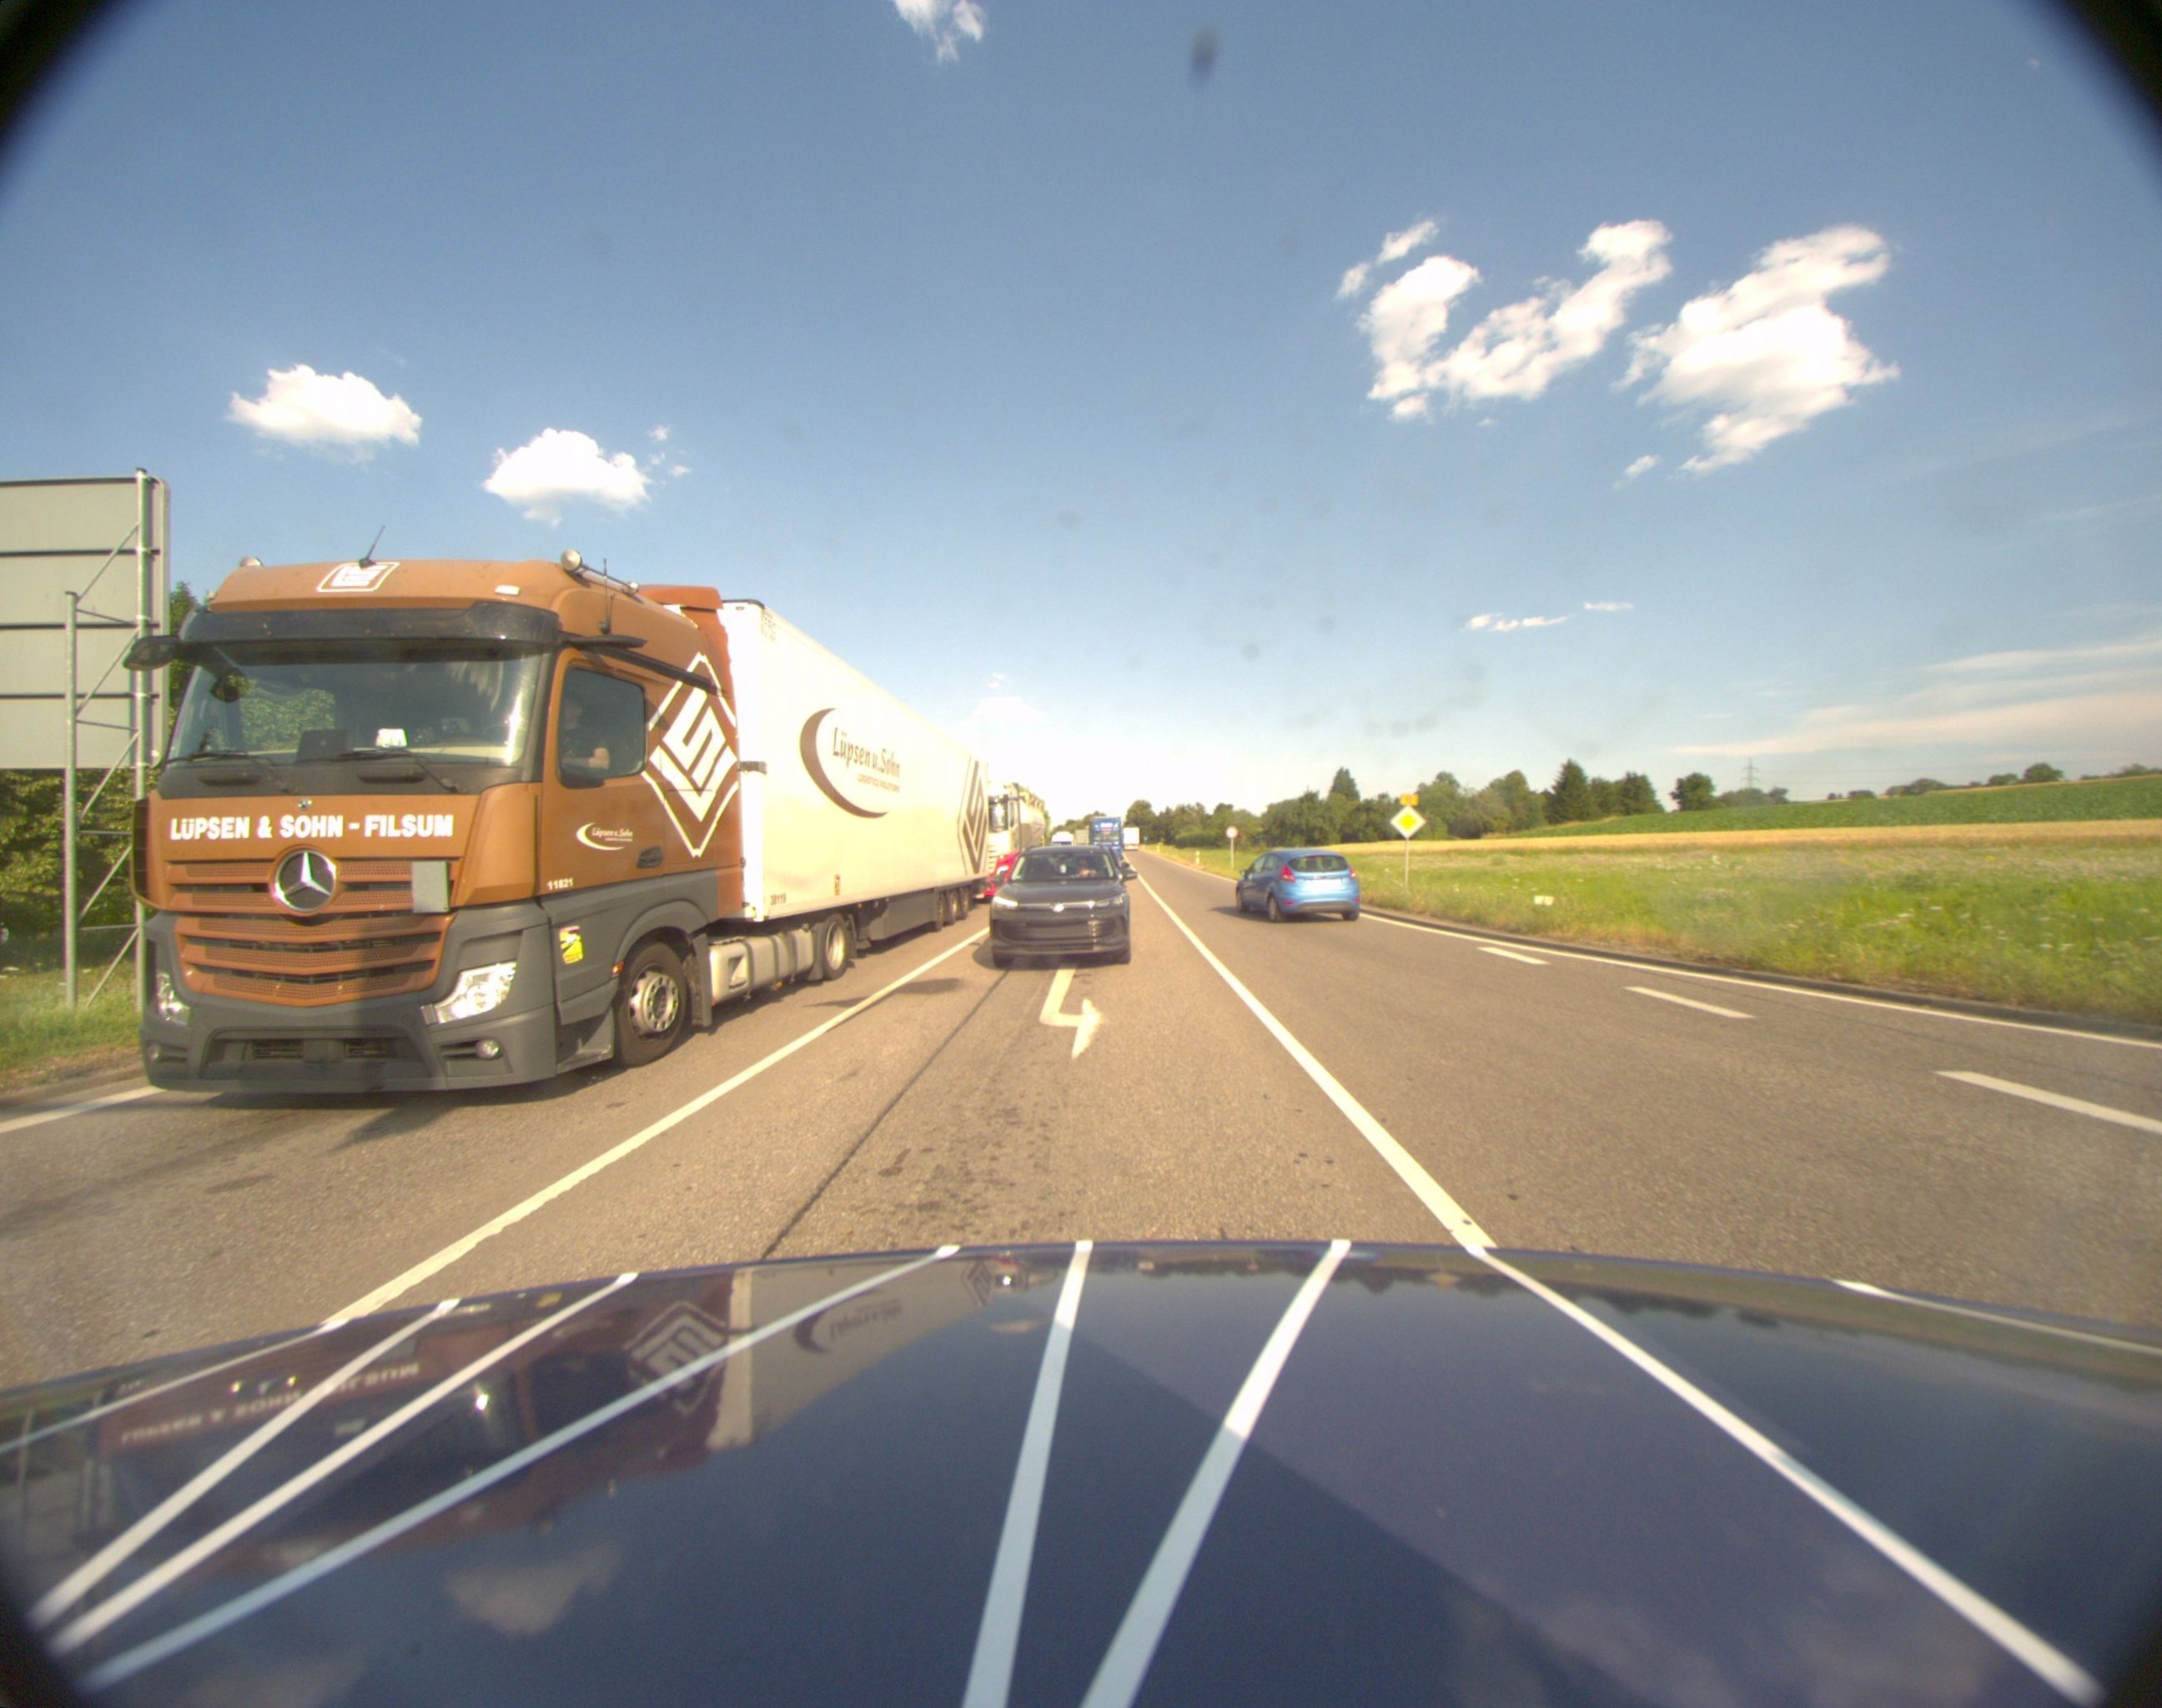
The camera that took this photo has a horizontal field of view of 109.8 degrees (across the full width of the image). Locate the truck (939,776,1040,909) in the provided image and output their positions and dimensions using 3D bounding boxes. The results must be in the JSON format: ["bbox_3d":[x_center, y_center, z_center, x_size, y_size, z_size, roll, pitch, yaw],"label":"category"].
[{"bbox_3d":[-2.820,-0.383,24.942,2.261,3.783,5.686,-2,1,2],"label":"truck"}]

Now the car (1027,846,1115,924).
[{"bbox_3d":[-0.116,0.661,18.764,1.774,1.604,4.548,-2,1,4],"label":"car"}]

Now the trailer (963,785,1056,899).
[{"bbox_3d":[-2.591,-0.465,30.598,2.264,3.756,9.525,-3,1,2],"label":"trailer"}]

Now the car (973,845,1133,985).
[{"bbox_3d":[-0.192,0.720,11.442,1.787,1.620,4.470,-2,1,5],"label":"car"}]

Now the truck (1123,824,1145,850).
[{"bbox_3d":[9.442,-3.025,136.974,3.449,4.471,9.487,-2,1,2],"label":"truck"}]

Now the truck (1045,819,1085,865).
[{"bbox_3d":[-1.290,-1.086,69.605,2.528,3.752,12.899,-2,1,3],"label":"truck"}]

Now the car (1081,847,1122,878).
[{"bbox_3d":[1.104,0.393,40.412,1.998,1.477,4.000,-2,1,2],"label":"car"}]

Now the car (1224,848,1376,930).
[{"bbox_3d":[4.431,0.651,16.054,1.764,1.492,3.998,-1,0,-5],"label":"car"}]

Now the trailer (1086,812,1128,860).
[{"bbox_3d":[2.508,-1.646,71.609,3.416,3.982,13.749,-2,1,2],"label":"trailer"}]

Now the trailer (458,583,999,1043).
[{"bbox_3d":[-3.964,-0.408,14.015,2.538,4.043,14.337,-2,0,3],"label":"trailer"}]

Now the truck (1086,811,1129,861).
[{"bbox_3d":[2.279,-1.528,64.640,3.373,3.982,5.601,-2,1,2],"label":"truck"}]

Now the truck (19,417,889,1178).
[{"bbox_3d":[-4.248,-0.308,7.446,2.537,4.020,6.662,-2,1,3],"label":"truck"}]

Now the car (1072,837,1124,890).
[{"bbox_3d":[0.732,0.327,30.893,1.906,1.936,4.372,-3,1,2],"label":"car"}]
